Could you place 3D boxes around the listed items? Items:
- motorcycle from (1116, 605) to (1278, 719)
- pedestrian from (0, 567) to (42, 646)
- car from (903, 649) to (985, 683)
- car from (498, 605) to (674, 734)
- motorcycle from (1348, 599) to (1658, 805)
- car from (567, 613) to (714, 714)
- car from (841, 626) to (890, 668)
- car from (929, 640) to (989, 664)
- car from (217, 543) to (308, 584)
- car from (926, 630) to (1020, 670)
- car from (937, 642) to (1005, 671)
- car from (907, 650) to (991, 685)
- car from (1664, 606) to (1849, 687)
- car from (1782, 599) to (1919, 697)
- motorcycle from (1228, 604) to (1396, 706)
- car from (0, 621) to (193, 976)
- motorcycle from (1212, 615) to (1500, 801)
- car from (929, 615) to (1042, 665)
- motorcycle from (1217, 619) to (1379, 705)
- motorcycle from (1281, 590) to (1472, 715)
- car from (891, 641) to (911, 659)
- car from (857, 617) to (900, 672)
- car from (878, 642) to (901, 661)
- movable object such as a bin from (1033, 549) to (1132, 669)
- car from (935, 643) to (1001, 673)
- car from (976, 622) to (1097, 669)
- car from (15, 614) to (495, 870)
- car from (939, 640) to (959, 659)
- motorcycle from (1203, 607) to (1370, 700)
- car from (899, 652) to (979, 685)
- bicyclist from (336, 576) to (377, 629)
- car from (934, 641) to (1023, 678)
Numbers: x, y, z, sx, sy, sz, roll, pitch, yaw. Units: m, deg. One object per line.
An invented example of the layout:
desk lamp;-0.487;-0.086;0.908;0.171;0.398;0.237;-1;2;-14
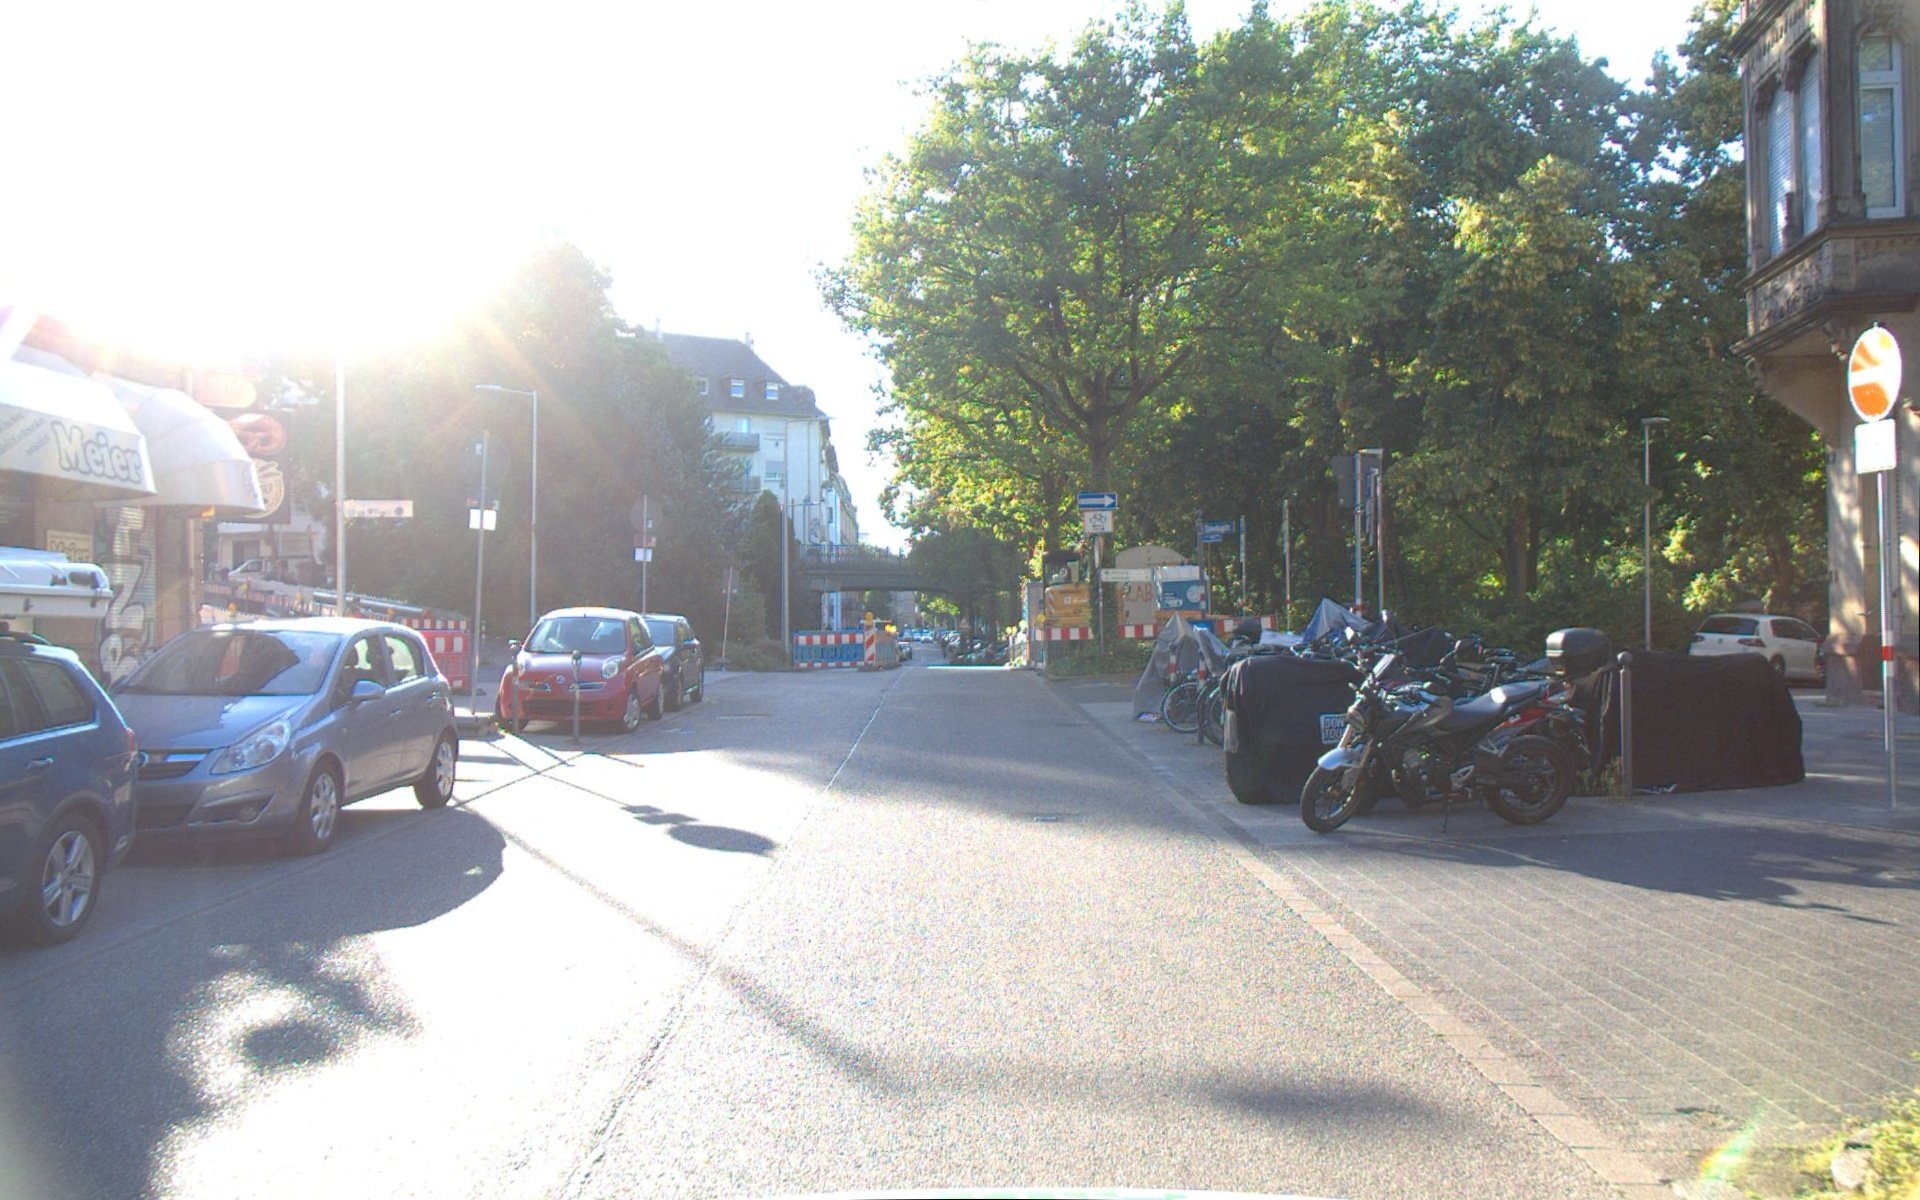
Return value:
motorcycle;3.105;0.792;21.641;1.894;1.437;0.940;-1;-1;27
pedestrian;-24.771;0.165;43.573;0.932;2.049;0.947;0;-1;-35
car;-0.862;3.536;88.362;4.300;1.732;1.915;1;-4;-3
car;-4.901;0.862;22.158;1.636;1.557;3.997;0;0;-3
motorcycle;3.916;0.720;12.022;1.982;1.386;0.694;-2;0;-1
car;-5.056;0.962;26.607;1.635;1.483;3.999;0;0;-1
car;-3.523;1.804;62.226;1.680;1.443;4.104;-2;-3;-2
car;-0.074;3.831;122.027;4.300;1.638;1.779;1;-4;-3
car;-36.678;-1.906;87.072;4.309;2.049;1.921;1;0;-23
car;0.597;2.368;77.908;4.300;1.732;1.915;1;-4;-3
car;0.713;3.683;107.507;4.300;1.816;1.915;1;-4;-3
car;-0.589;3.533;86.287;4.300;1.732;1.915;1;-4;-3
car;16.697;0.988;34.611;3.957;1.437;1.857;4;0;-37
car;15.660;0.858;27.432;4.321;1.402;1.972;3;-7;-39
motorcycle;4.850;0.757;22.881;2.234;1.365;0.657;-1;-1;11
car;-4.875;0.849;6.608;1.729;1.462;4.299;-1;0;-2
motorcycle;3.071;0.820;12.990;1.982;1.307;0.903;-3;0;-2
car;1.069;1.728;70.585;4.648;2.032;1.914;1;-4;-4
motorcycle;4.864;0.888;23.830;2.234;1.201;0.972;-1;-1;12
motorcycle;5.319;0.661;21.175;2.239;1.558;0.755;0;-1;-7
car;-5.301;4.498;148.929;1.776;1.422;3.973;-2;-3;-2
car;-4.043;2.243;82.109;2.006;2.541;5.692;1;-3;-3
car;-5.931;4.342;139.111;1.776;1.422;3.973;-2;-3;-2
movable object such as a bin;2.995;0.234;39.888;1.951;2.747;3.113;-1;-1;13
car;0.508;3.847;110.063;4.300;1.895;1.915;1;-4;-3
car;2.815;1.721;61.700;4.301;1.634;1.914;1;-4;-5
car;-4.748;0.860;11.828;1.690;1.462;3.995;1;0;0
car;-0.999;4.465;148.587;1.739;1.638;4.400;-1;-2;-1
motorcycle;4.978;0.796;25.253;2.322;1.365;0.938;0;-1;-11
car;-1.186;3.786;90.720;4.300;1.732;1.915;1;-4;-3
bicyclist;-16.250;0.062;44.523;0.797;1.407;0.973;1;-1;-36
car;0.898;2.973;82.249;4.300;1.732;1.915;1;-4;-3
